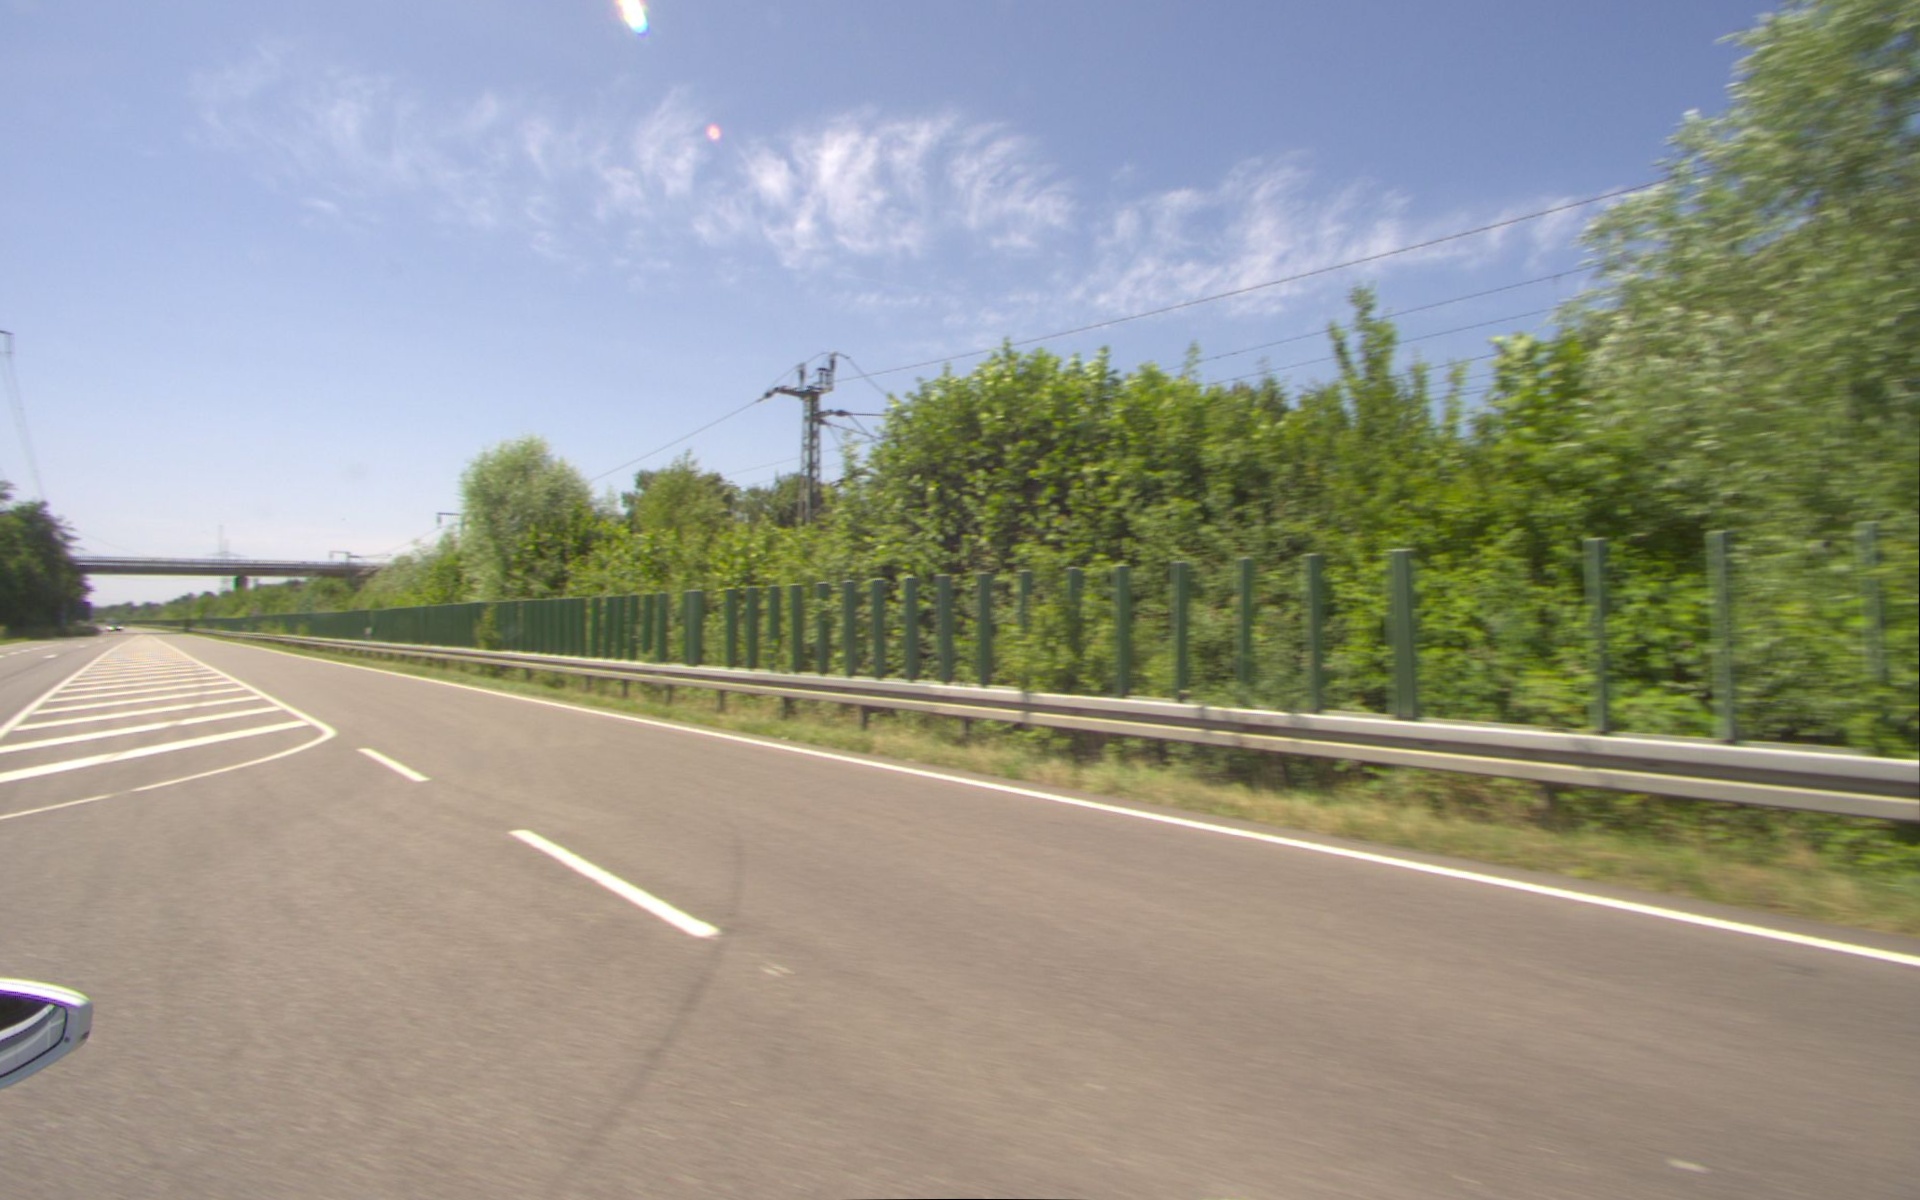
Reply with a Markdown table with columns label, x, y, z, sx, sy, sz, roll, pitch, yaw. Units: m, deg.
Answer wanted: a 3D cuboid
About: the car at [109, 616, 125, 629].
| label | x | y | z | sx | sy | sz | roll | pitch | yaw |
| --- | --- | --- | --- | --- | --- | --- | --- | --- | --- |
| car | -139.730 | 3.718 | 165.922 | 1.979 | 2.039 | 3.966 | 2 | -2 | -40 |
